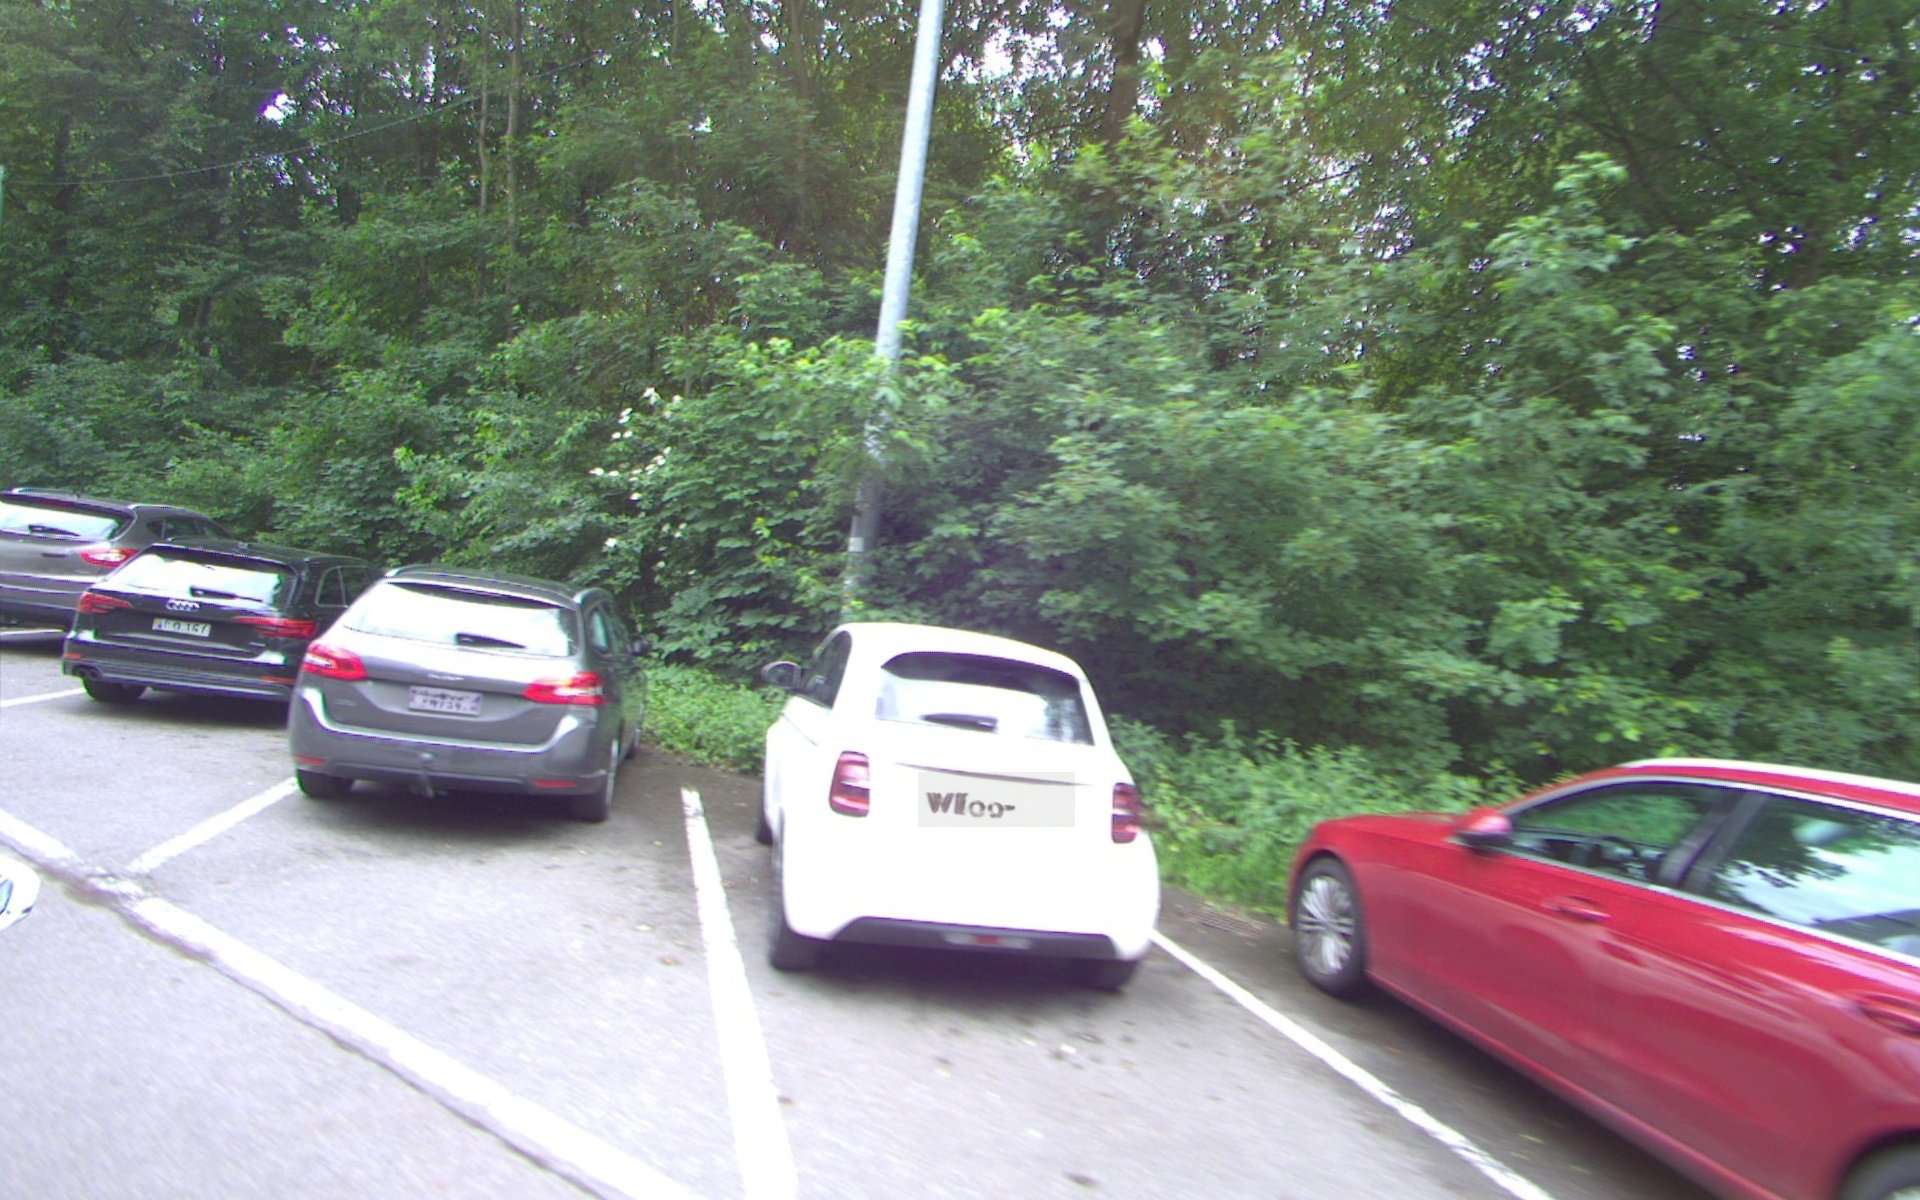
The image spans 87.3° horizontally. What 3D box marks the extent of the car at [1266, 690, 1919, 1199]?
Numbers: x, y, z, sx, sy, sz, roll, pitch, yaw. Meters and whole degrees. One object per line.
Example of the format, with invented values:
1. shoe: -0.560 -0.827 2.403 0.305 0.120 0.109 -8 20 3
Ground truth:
1. car: 3.038 1.307 3.486 1.896 1.430 4.290 8 -2 -10

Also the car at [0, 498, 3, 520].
1. car: -18.493 -1.309 16.639 1.870 1.479 4.195 8 -2 -14

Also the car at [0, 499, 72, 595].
1. car: -15.273 -0.915 14.574 1.881 1.439 3.989 8 -2 -15

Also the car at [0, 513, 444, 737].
1. car: -6.438 0.193 9.410 1.936 1.393 4.249 8 -1 -16

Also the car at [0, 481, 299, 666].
1. car: -9.747 -0.323 11.746 1.935 1.655 4.252 8 -1 -14

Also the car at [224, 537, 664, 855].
1. car: -3.251 0.523 7.298 1.777 1.474 4.176 8 -1 -14

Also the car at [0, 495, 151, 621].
1. car: -12.502 -0.612 12.621 1.805 1.484 3.993 8 -1 -10

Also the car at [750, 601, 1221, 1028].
1. car: -0.218 0.890 5.718 1.707 1.522 3.575 8 -1 -12
